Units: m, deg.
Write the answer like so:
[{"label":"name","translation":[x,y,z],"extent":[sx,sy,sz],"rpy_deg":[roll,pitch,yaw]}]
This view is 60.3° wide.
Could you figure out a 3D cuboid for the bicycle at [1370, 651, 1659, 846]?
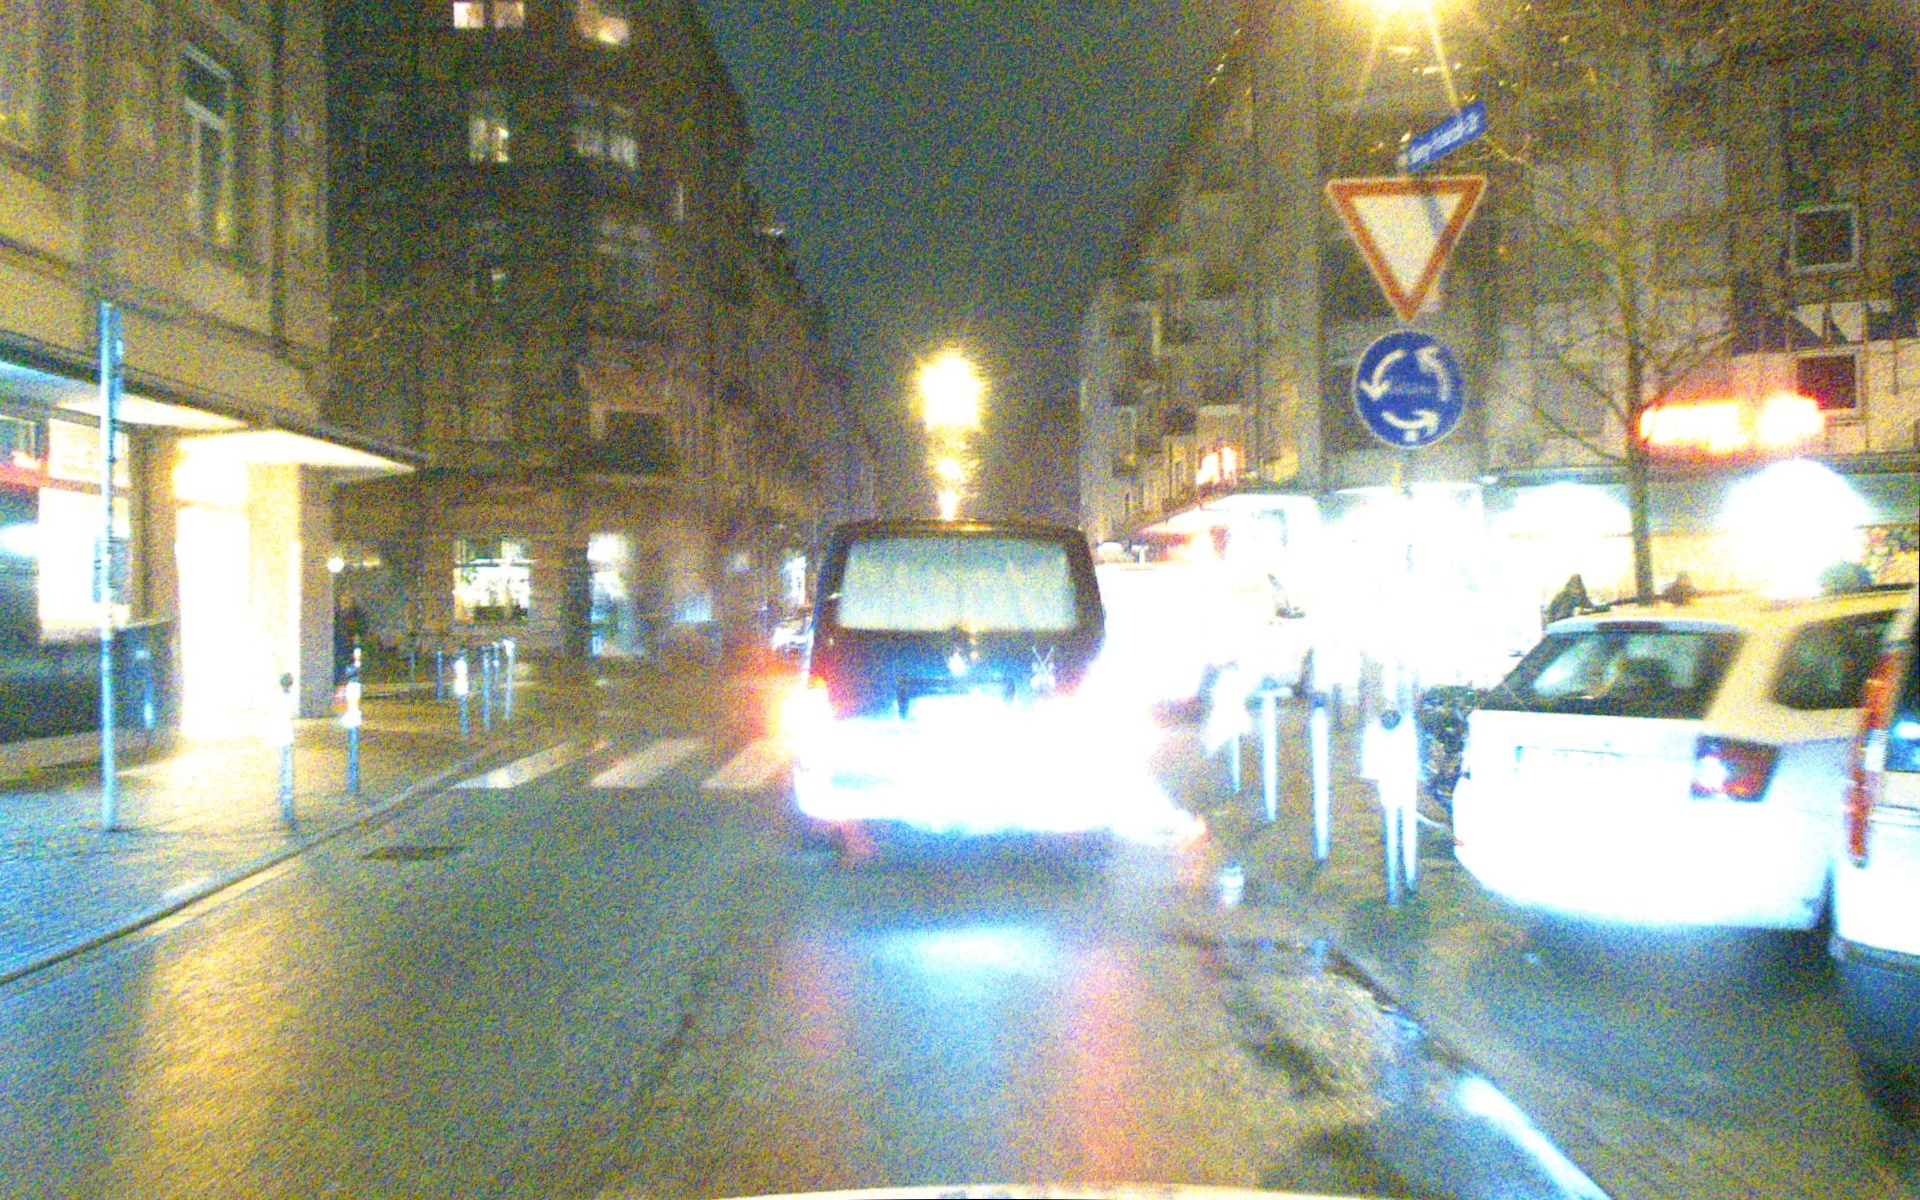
[{"label":"bicycle","translation":[3.249,0.841,9.807],"extent":[1.618,1.044,0.334],"rpy_deg":[-1,1,44]}]

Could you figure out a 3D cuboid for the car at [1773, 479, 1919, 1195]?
[{"label":"car","translation":[4.131,0.498,4.642],"extent":[3.698,1.742,1.750],"rpy_deg":[-3,0,-36]}]

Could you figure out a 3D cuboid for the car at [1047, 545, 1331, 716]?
[{"label":"car","translation":[3.113,0.348,21.531],"extent":[2.082,1.956,4.818],"rpy_deg":[0,0,29]}]

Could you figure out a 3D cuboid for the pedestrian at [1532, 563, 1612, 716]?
[{"label":"pedestrian","translation":[7.330,0.465,19.838],"extent":[0.808,1.802,0.600],"rpy_deg":[0,0,12]}]

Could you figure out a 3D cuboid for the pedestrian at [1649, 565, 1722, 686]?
[{"label":"pedestrian","translation":[11.489,0.402,26.188],"extent":[0.861,1.865,0.980],"rpy_deg":[-1,-1,35]}]

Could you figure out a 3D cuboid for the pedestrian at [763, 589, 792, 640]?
[{"label":"pedestrian","translation":[-6.499,0.529,58.915],"extent":[0.787,1.797,1.016],"rpy_deg":[1,-1,5]}]

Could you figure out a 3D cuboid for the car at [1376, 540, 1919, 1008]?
[{"label":"car","translation":[4.106,0.549,7.551],"extent":[4.203,1.601,1.755],"rpy_deg":[-3,0,-29]}]

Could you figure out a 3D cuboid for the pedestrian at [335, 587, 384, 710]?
[{"label":"pedestrian","translation":[-9.626,0.767,26.498],"extent":[0.644,1.942,0.623],"rpy_deg":[2,-1,-25]}]

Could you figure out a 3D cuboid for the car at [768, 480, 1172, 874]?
[{"label":"car","translation":[0.045,0.400,10.848],"extent":[2.079,2.026,4.600],"rpy_deg":[0,0,0]}]

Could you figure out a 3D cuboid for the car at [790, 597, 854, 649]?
[{"label":"car","translation":[-4.187,0.676,50.687],"extent":[1.554,1.489,4.024],"rpy_deg":[2,0,0]}]

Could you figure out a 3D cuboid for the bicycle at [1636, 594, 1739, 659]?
[{"label":"bicycle","translation":[13.739,0.496,31.243],"extent":[1.747,1.194,0.383],"rpy_deg":[0,0,28]}]

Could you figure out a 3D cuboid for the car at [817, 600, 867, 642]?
[{"label":"car","translation":[-4.190,0.736,59.247],"extent":[1.554,1.474,3.503],"rpy_deg":[0,0,0]}]
